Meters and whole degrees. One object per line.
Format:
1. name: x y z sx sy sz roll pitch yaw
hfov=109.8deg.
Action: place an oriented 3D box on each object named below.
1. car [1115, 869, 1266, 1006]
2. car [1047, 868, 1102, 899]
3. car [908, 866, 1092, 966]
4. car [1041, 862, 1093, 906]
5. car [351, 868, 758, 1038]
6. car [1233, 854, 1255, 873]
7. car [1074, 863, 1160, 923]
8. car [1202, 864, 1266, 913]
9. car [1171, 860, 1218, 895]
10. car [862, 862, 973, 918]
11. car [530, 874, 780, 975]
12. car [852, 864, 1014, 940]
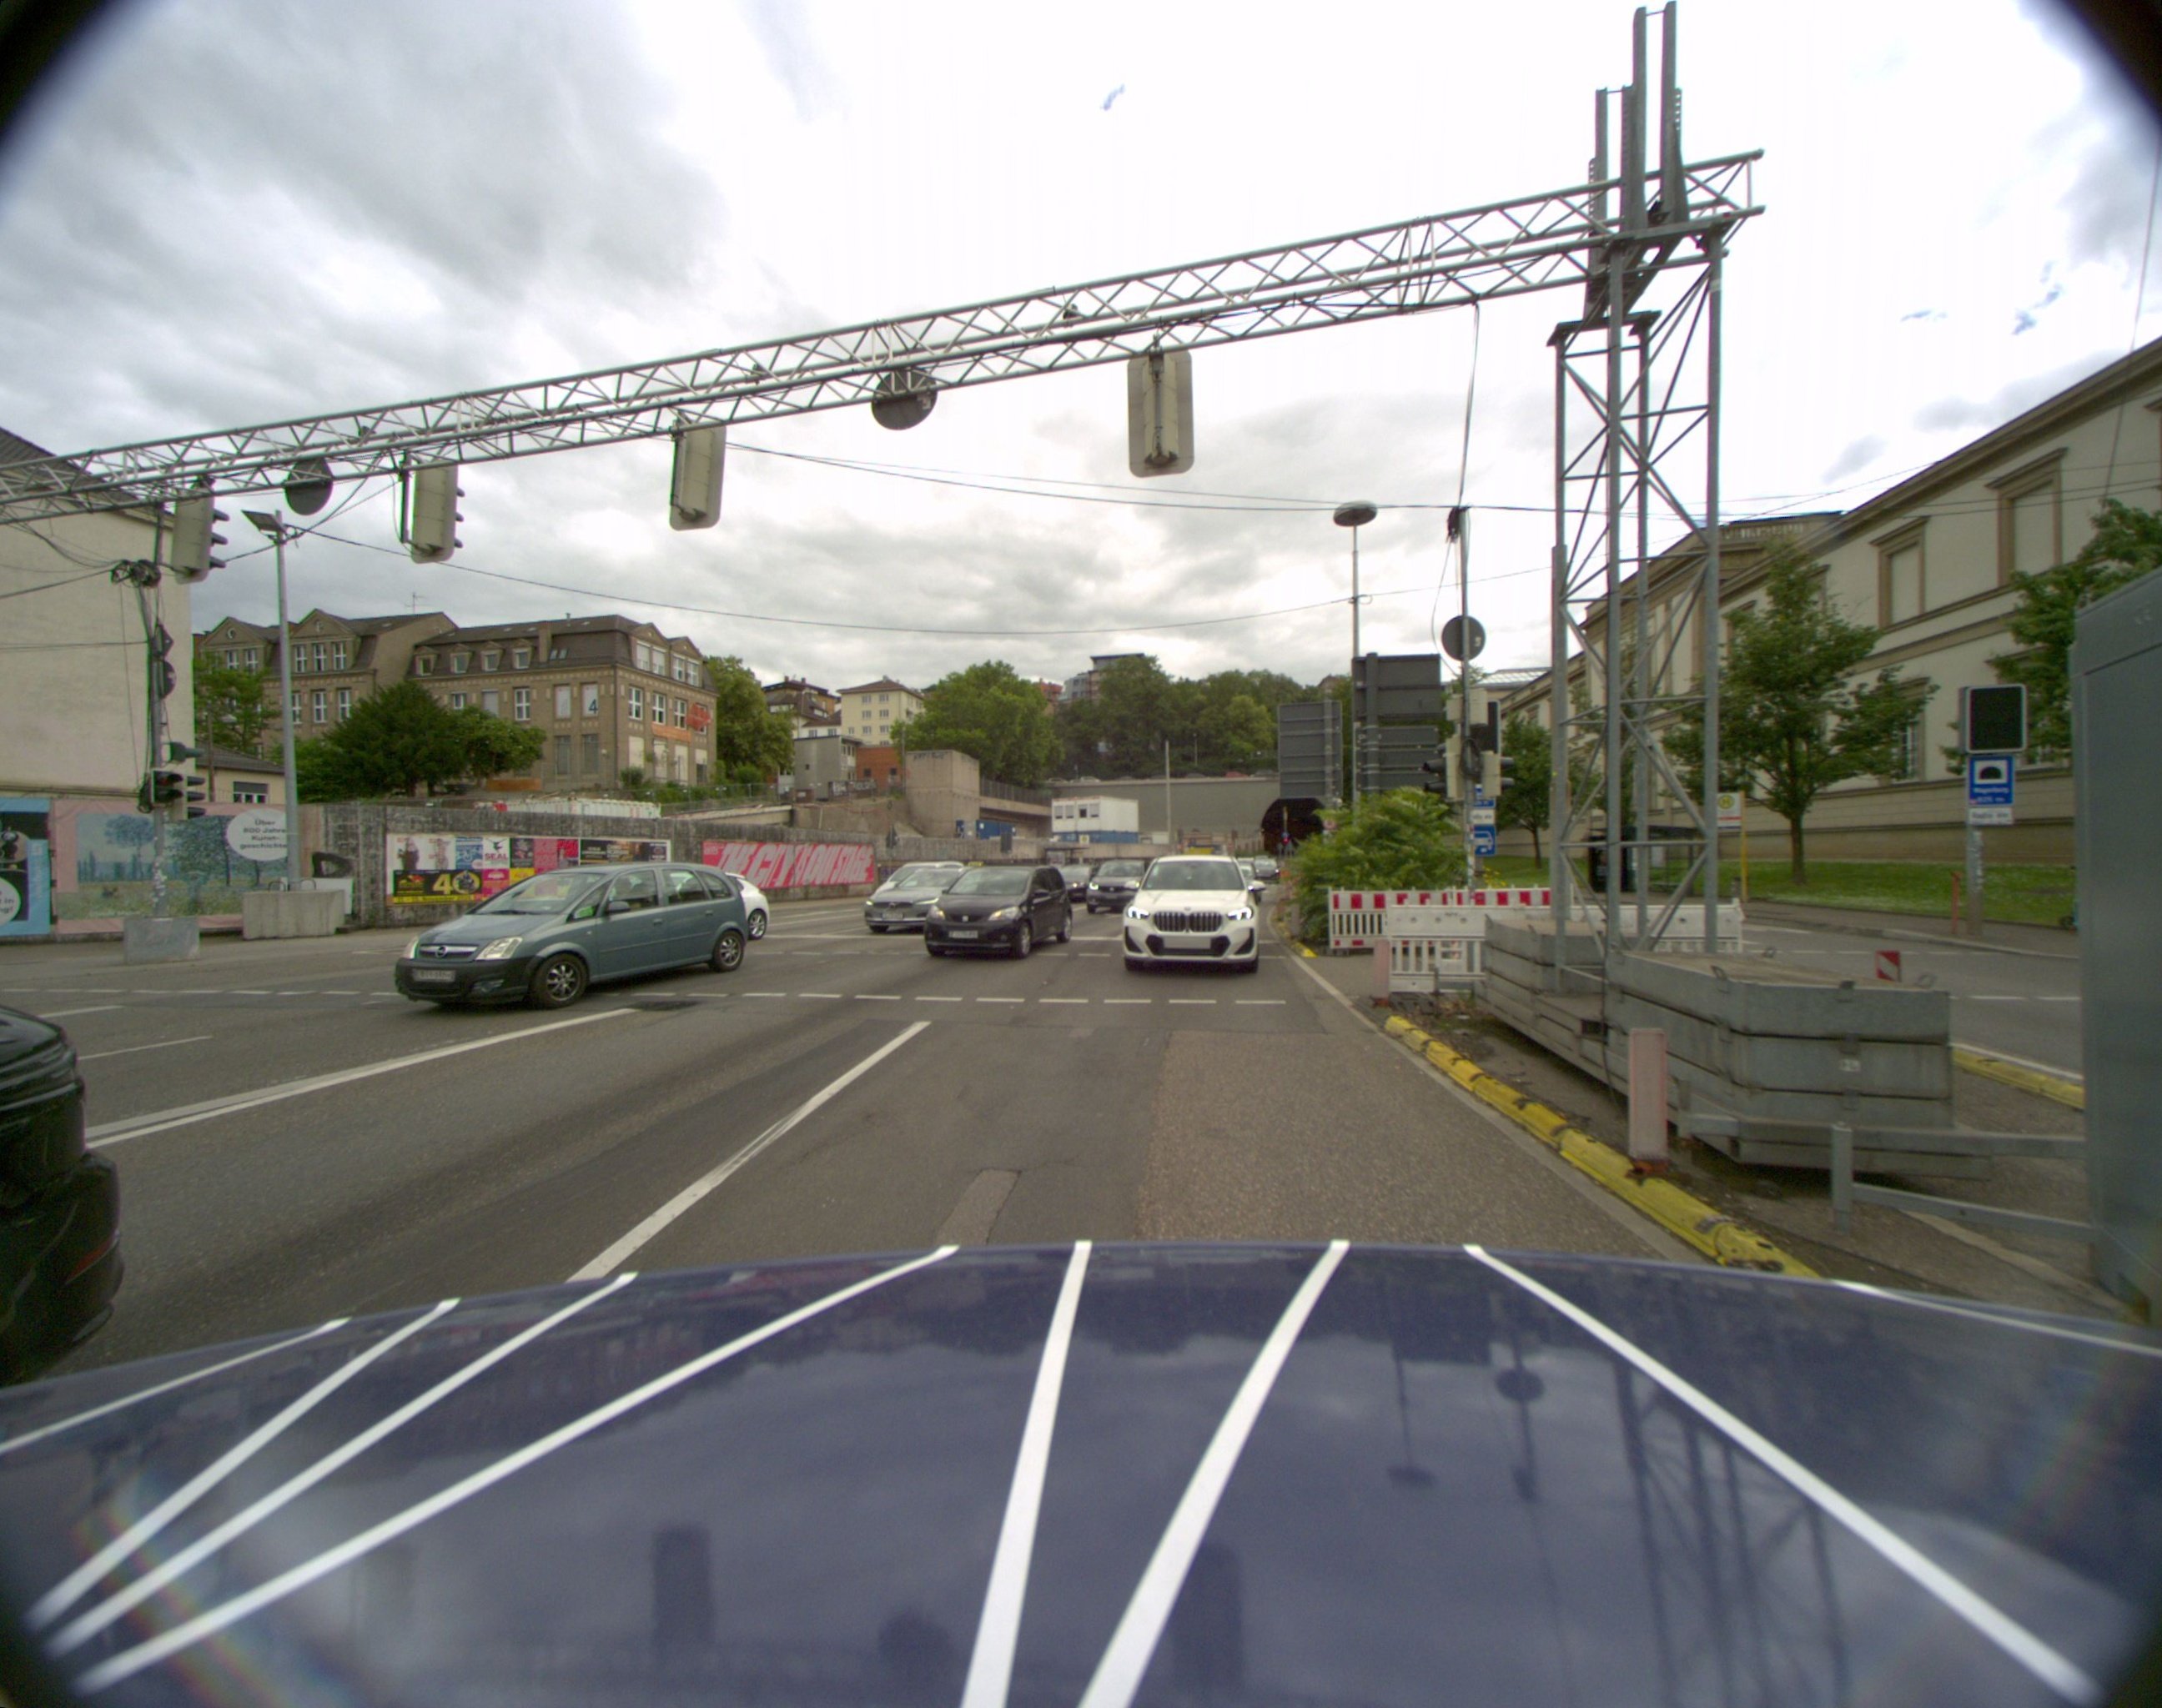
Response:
1. car: 1.668 1.029 11.006 1.810 1.595 3.716 0 -1 11
2. car: -0.276 1.535 40.696 1.808 1.569 4.445 0 -1 16
3. car: -1.217 0.956 13.575 1.731 1.461 4.425 0 -1 16
4. car: -0.591 1.084 29.213 1.811 1.569 4.438 0 -1 -3
5. car: -6.111 1.009 9.466 1.689 1.564 3.960 -1 0 16
6. car: 13.873 0.828 64.499 1.566 1.564 3.294 0 -1 16
7. car: 1.136 1.057 22.144 1.689 1.564 3.718 0 -1 16
8. car: 5.472 1.147 26.816 1.996 1.543 4.004 0 0 14
9. car: 5.439 1.068 36.122 1.689 1.564 3.999 0 -1 16
10. car: -5.106 1.078 24.286 1.689 1.564 4.076 -2 0 16
11. car: -7.563 1.177 14.039 1.689 1.408 4.090 -1 1 12
12. car: -3.337 1.031 18.281 1.907 1.569 4.689 0 -1 16
